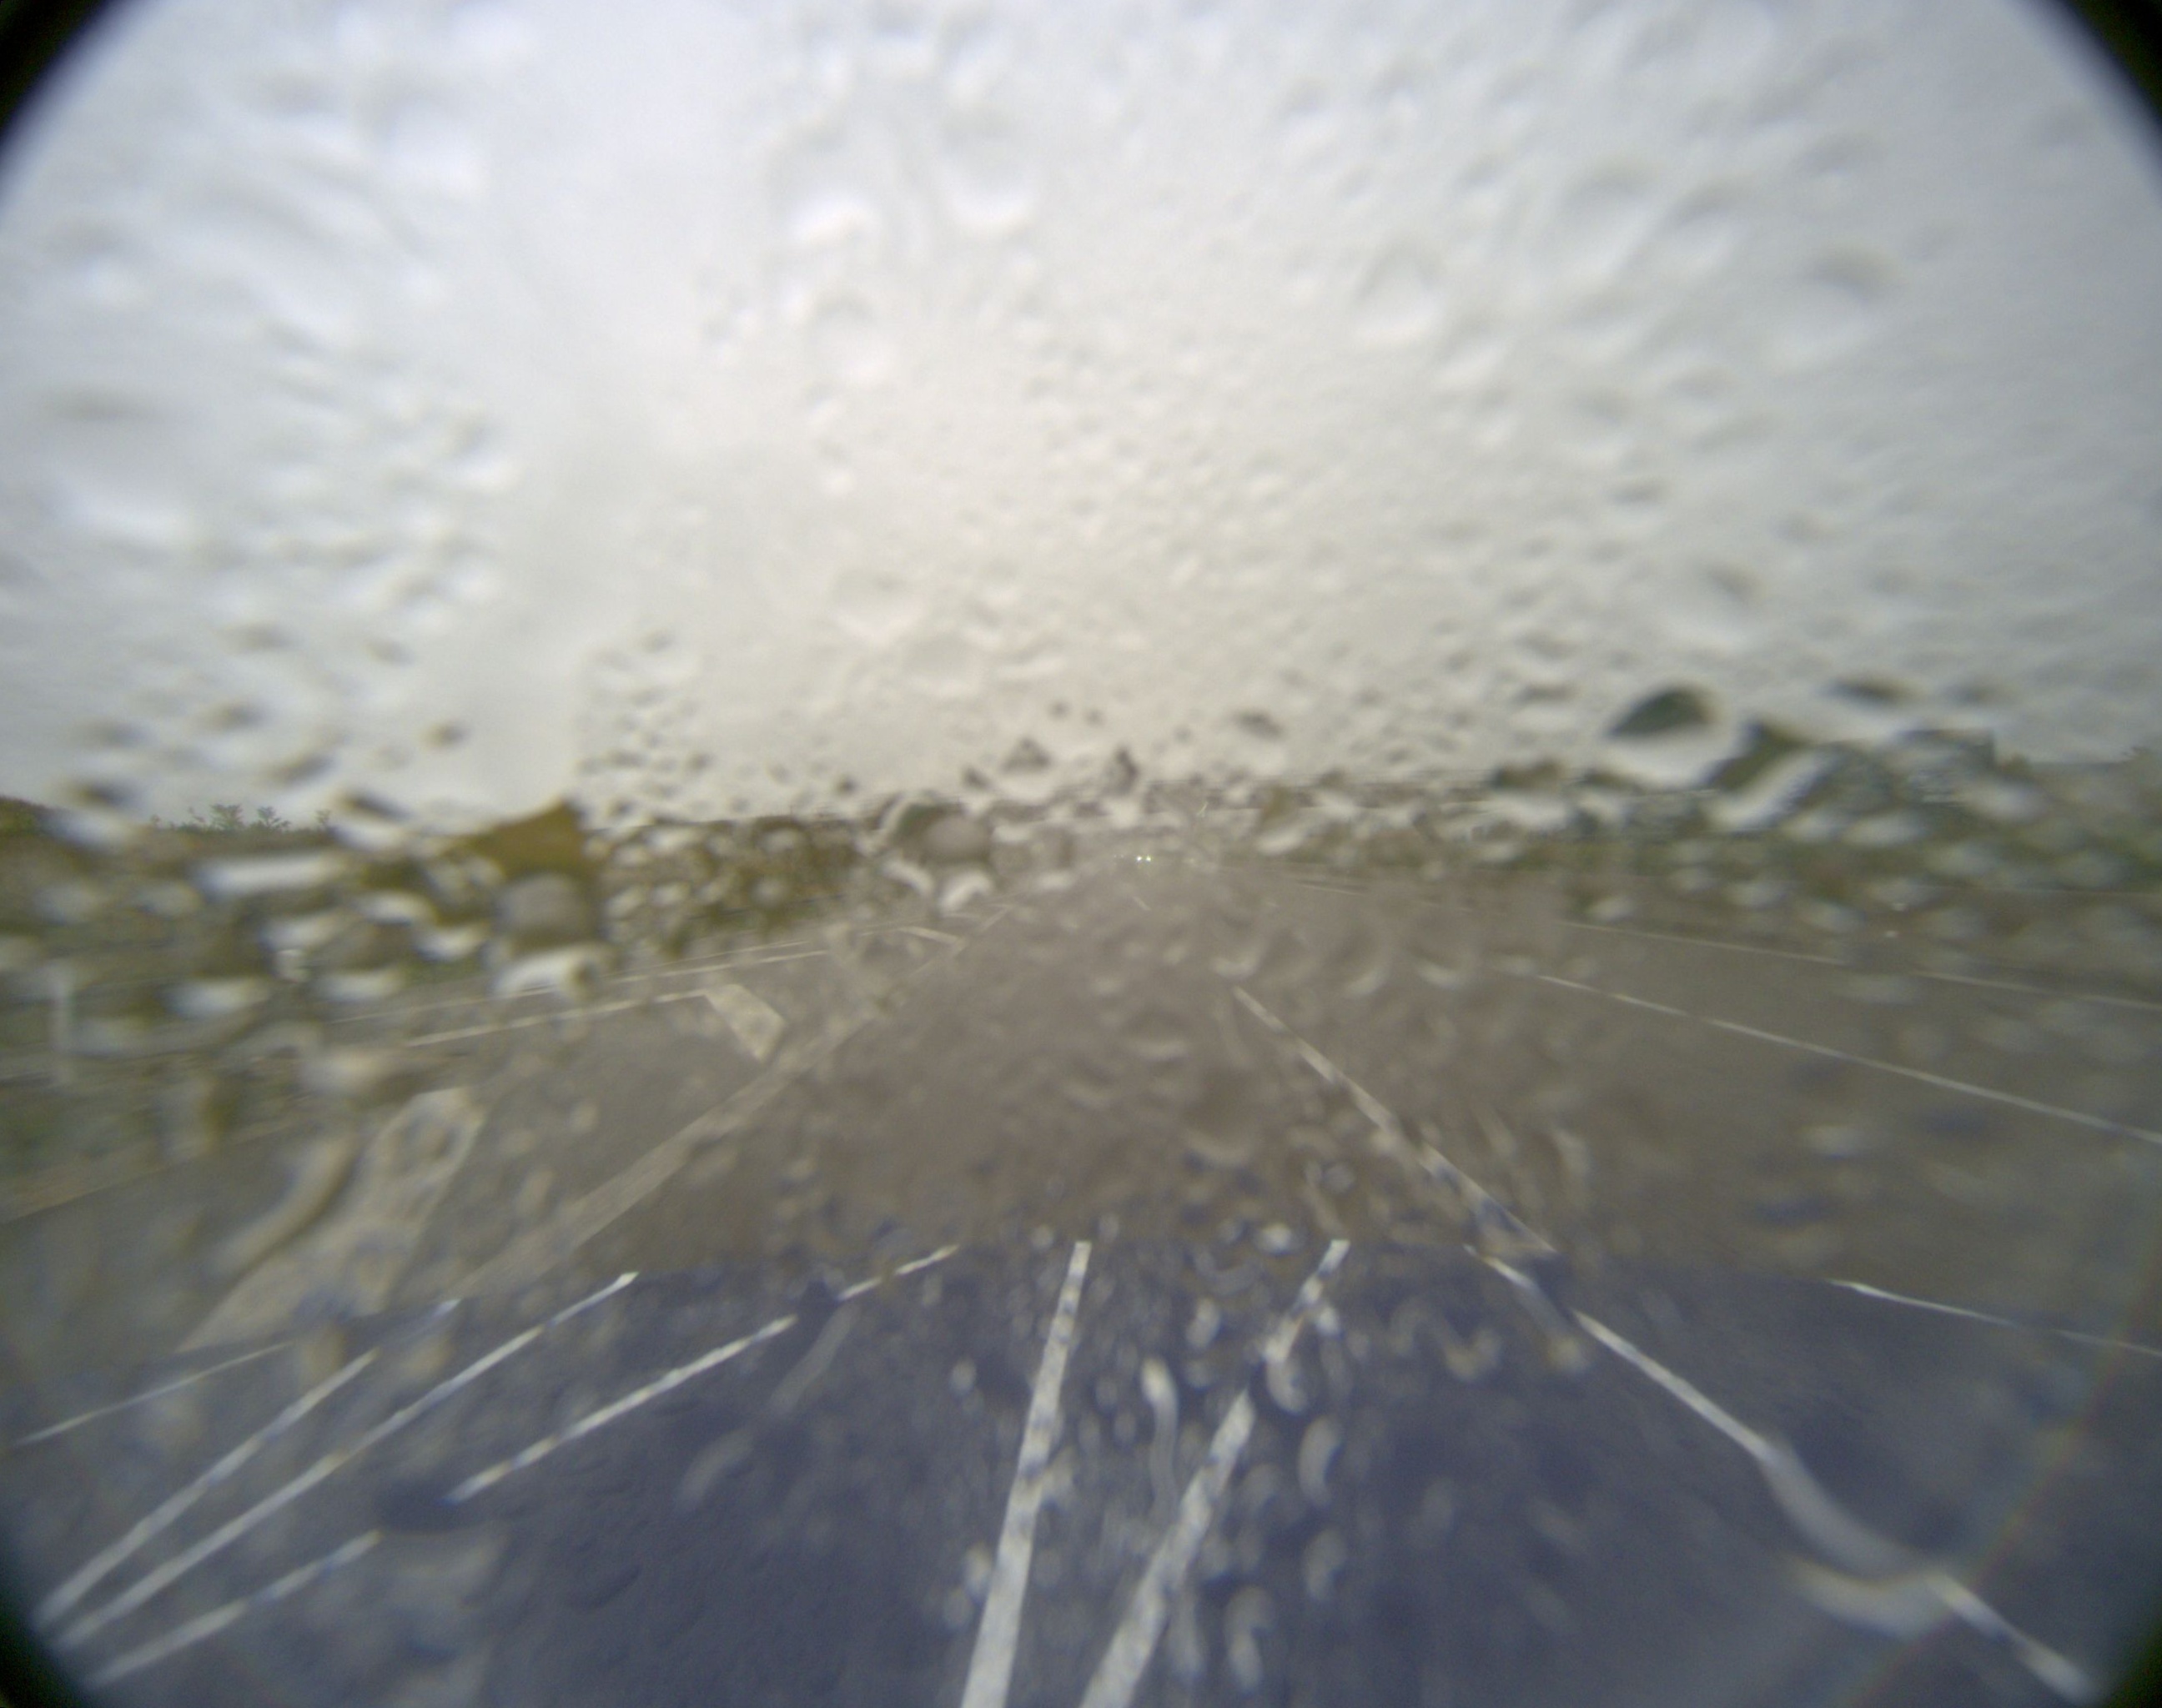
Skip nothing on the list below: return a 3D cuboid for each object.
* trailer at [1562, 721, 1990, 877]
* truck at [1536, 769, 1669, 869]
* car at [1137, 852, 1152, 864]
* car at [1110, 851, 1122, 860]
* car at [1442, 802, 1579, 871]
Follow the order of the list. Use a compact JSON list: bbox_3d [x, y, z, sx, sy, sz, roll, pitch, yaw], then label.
[{"bbox_3d":[22.617,-1.422,26.923,2.229,3.973,14.207,-3,0,1],"label":"trailer"},{"bbox_3d":[22.711,-1.420,33.437,2.219,3.960,5.185,-3,0,1],"label":"truck"},{"bbox_3d":[8.918,0.530,107.237,1.701,1.543,3.733,-3,1,1],"label":"car"},{"bbox_3d":[5.882,0.251,129.184,1.701,1.543,3.732,-3,1,-1],"label":"car"},{"bbox_3d":[18.919,-0.729,33.955,2.503,2.690,6.205,-3,1,0],"label":"car"}]
